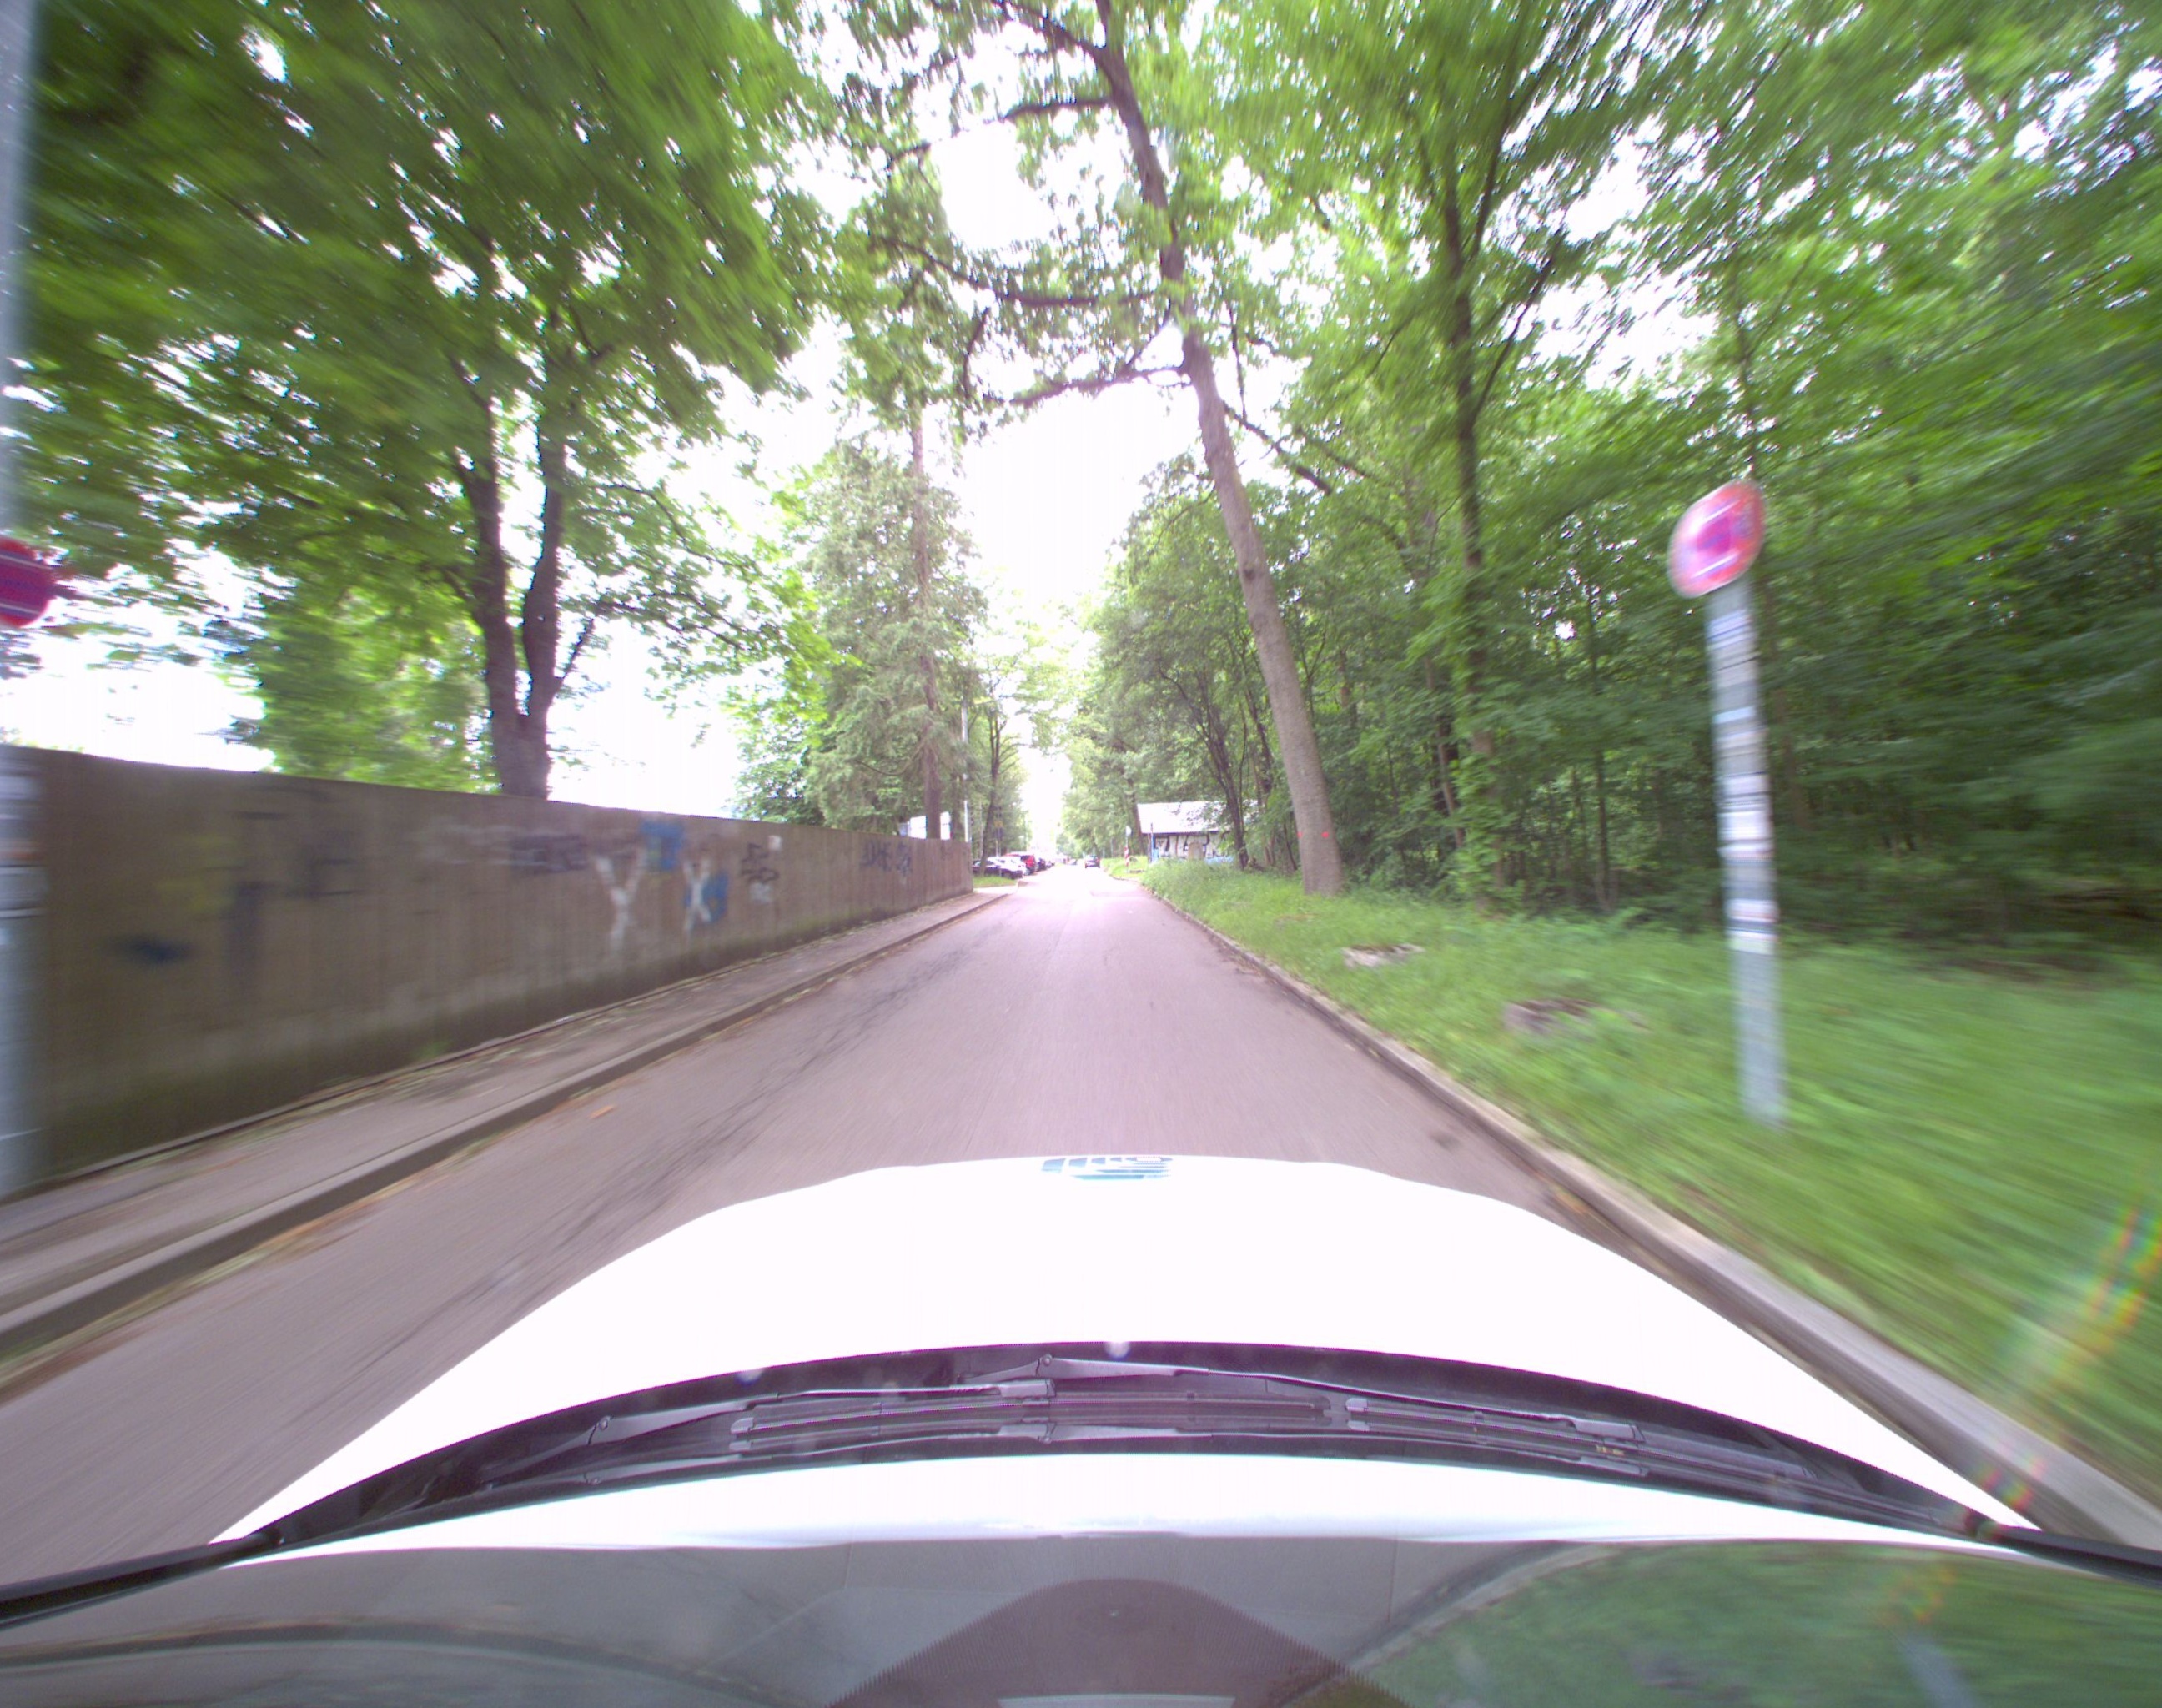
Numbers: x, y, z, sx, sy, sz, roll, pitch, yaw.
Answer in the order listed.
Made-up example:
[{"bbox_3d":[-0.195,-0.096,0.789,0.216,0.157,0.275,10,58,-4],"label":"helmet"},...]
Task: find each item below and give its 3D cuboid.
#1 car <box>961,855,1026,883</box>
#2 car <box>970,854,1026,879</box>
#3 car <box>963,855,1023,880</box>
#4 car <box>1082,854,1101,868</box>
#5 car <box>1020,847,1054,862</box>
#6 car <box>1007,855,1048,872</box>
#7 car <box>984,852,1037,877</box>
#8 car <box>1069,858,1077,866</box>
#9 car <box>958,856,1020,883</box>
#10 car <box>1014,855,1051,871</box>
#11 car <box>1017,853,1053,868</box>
[{"bbox_3d":[-5.613,0.950,52.535,3.978,1.574,1.998,-3,0,-4],"label":"car"},{"bbox_3d":[-6.105,0.920,60.494,3.978,1.574,1.998,-3,0,-4],"label":"car"},{"bbox_3d":[-6.152,0.926,57.403,3.978,1.574,1.998,-3,0,-4],"label":"car"},{"bbox_3d":[1.162,0.733,88.598,1.900,1.508,4.002,0,-1,2],"label":"car"},{"bbox_3d":[-5.343,0.078,100.289,3.974,1.596,1.764,-4,-1,0],"label":"car"},{"bbox_3d":[-4.937,0.856,75.005,3.560,1.407,1.650,-3,-1,0],"label":"car"},{"bbox_3d":[-5.638,0.817,65.713,3.972,1.750,2.001,-3,0,1],"label":"car"},{"bbox_3d":[-2.287,2.289,232.247,1.990,2.013,3.993,-3,0,-5],"label":"car"},{"bbox_3d":[-6.152,1.005,54.867,3.978,1.574,1.998,-3,0,-4],"label":"car"},{"bbox_3d":[-4.824,0.897,81.555,3.560,1.407,1.650,-3,-1,0],"label":"car"},{"bbox_3d":[-4.810,0.692,84.725,3.560,1.407,1.650,-3,-1,0],"label":"car"}]
